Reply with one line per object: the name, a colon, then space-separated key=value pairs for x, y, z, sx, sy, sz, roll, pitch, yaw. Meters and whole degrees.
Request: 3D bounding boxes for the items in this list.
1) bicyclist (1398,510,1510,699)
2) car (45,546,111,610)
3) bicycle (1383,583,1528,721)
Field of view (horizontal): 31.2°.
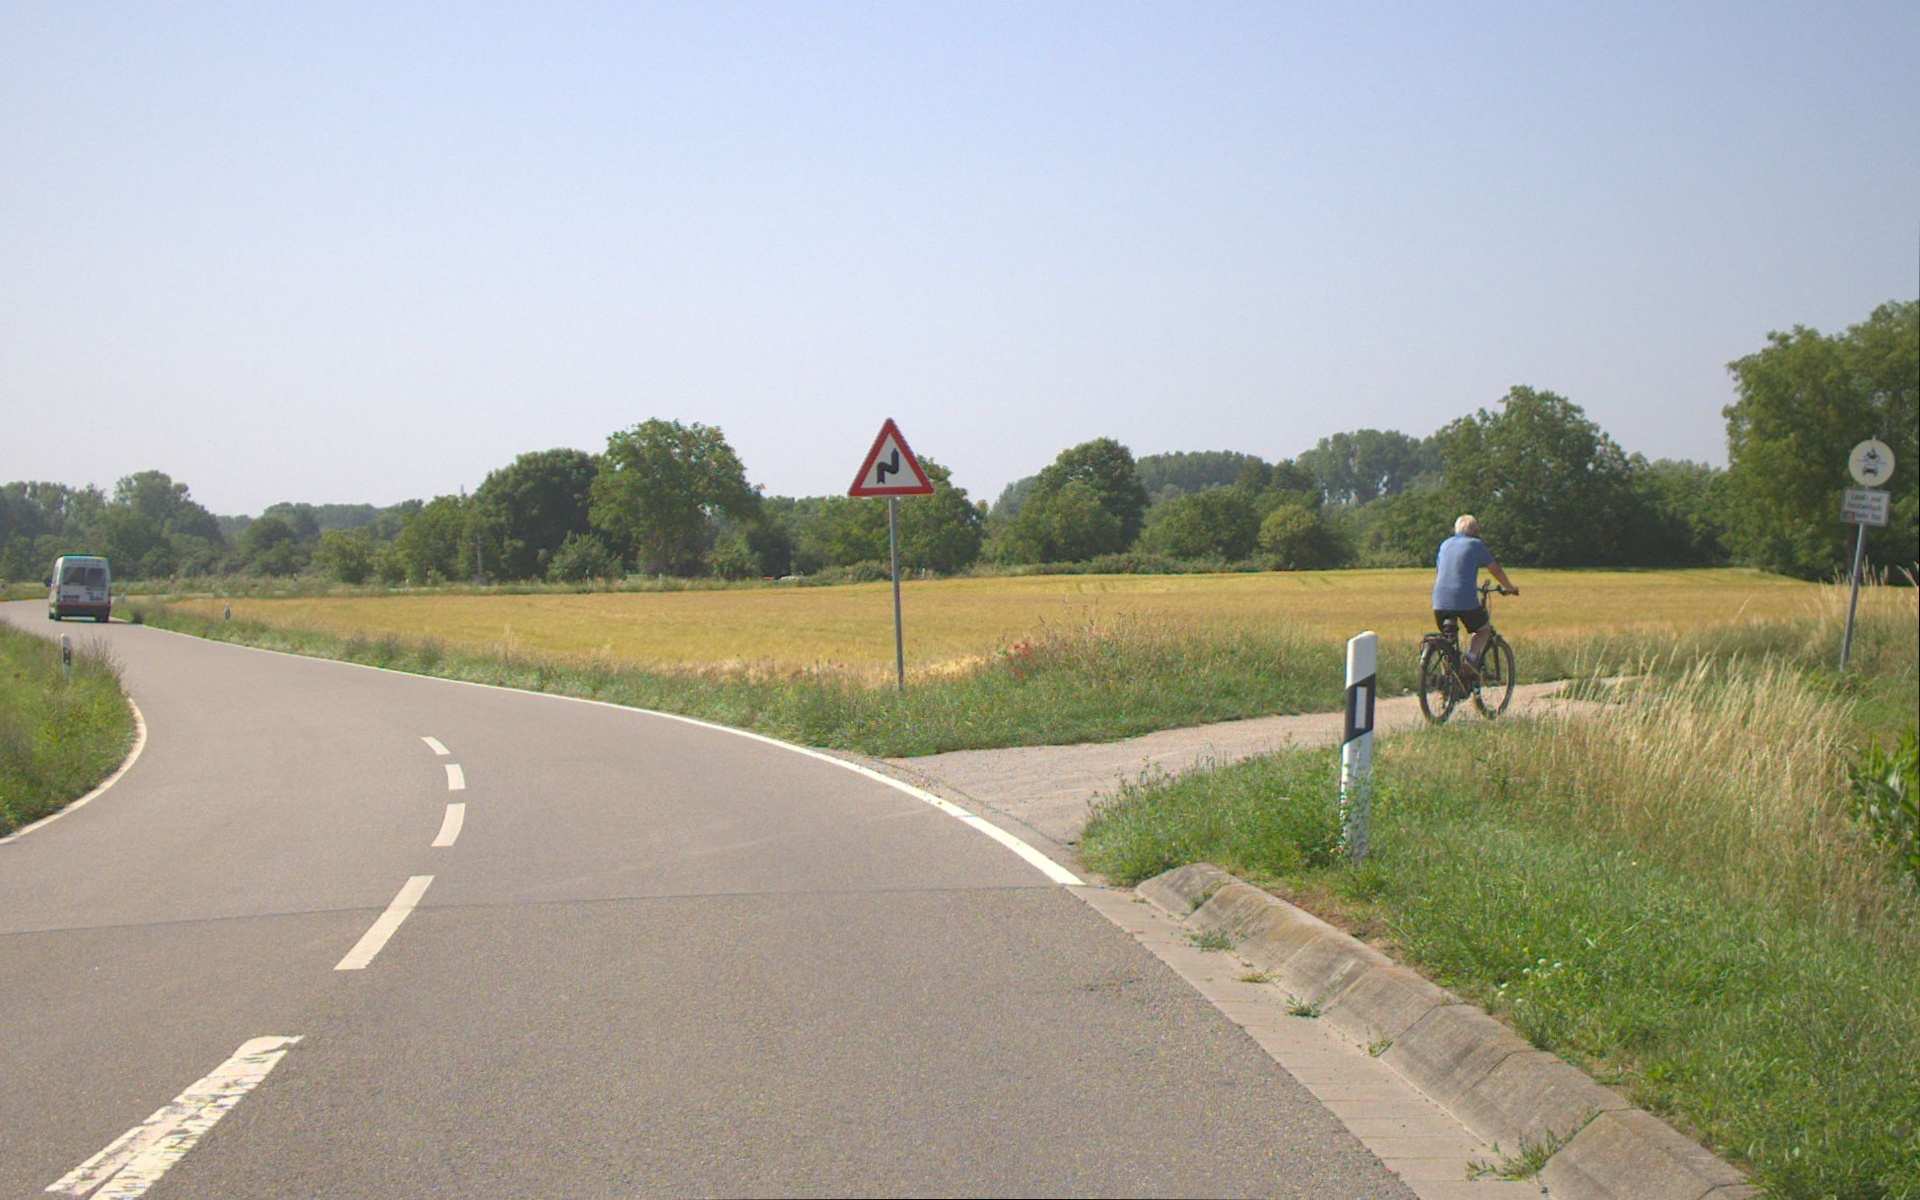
bicyclist: x=4.168 y=0.039 z=28.994 sx=0.673 sy=1.568 sz=0.734 roll=-1 pitch=0 yaw=32
car: x=-33.693 y=-0.856 z=131.276 sx=2.103 sy=2.359 sz=5.688 roll=-1 pitch=1 yaw=-17
bicycle: x=4.198 y=0.422 z=29.032 sx=0.521 sy=1.112 sz=1.766 roll=-1 pitch=0 yaw=32
